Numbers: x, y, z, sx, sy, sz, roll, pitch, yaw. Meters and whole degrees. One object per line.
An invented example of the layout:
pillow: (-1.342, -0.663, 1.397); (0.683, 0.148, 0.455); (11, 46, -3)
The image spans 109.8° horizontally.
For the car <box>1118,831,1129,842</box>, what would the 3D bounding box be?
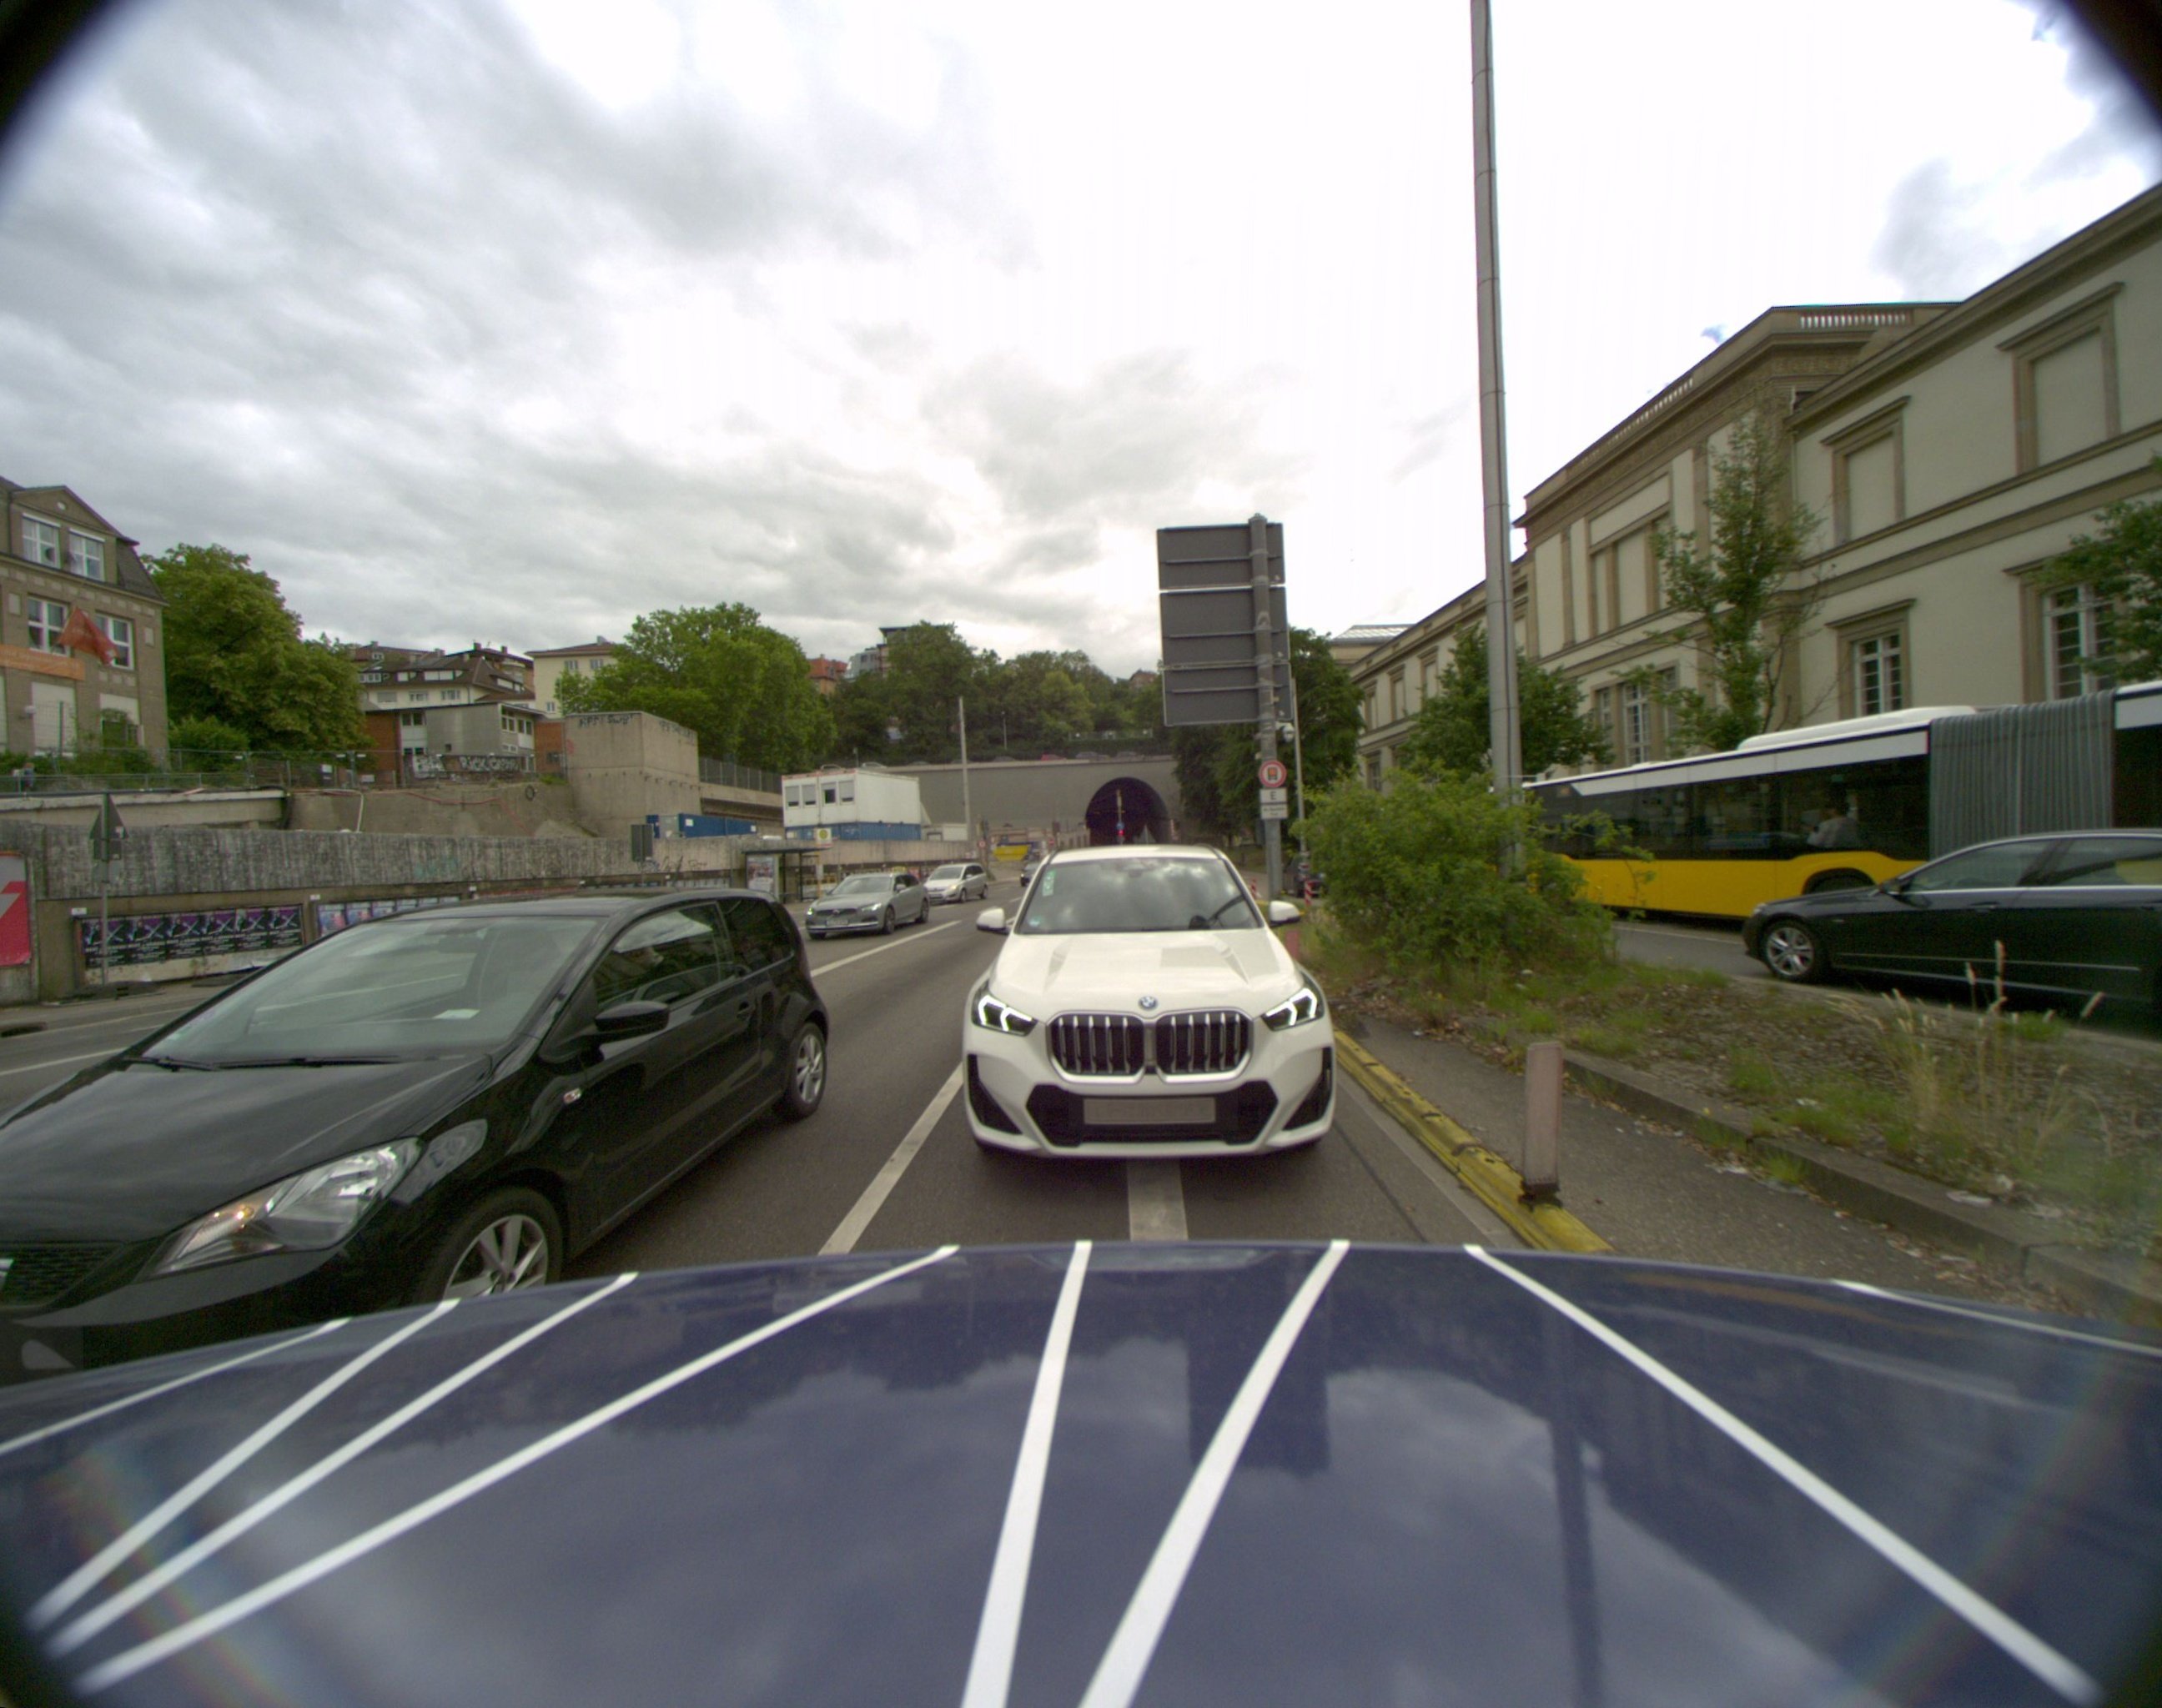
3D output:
car: (6.908, -2.822, 123.371); (1.667, 1.582, 3.882); (-1, 0, 2)

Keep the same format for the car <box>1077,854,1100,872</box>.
car: (0.626, 0.691, 61.986); (1.728, 1.310, 4.000); (-3, 0, 1)

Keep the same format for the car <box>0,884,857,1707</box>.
car: (-2.513, 0.999, 3.421); (1.667, 1.487, 3.882); (-3, 0, 2)

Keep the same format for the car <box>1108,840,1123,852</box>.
car: (4.444, -0.969, 98.013); (1.730, 1.435, 4.001); (-3, 0, 5)

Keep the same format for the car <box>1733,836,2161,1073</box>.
car: (7.735, 0.630, 5.658); (1.705, 1.463, 4.629); (-3, 0, -1)

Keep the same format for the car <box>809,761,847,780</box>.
car: (-31.086, -10.255, 93.316); (3.998, 2.002, 1.999); (-2, 1, -5)

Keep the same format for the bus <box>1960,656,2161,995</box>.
bus: (11.272, -0.310, 3.919); (2.853, 3.096, 9.121); (-3, 0, 0)

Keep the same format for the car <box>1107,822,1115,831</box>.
car: (5.936, -5.381, 150.873); (1.667, 1.582, 3.882); (-1, 0, 2)

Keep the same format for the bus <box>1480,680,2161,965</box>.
bus: (11.163, -0.371, 13.405); (2.853, 3.096, 9.747); (-3, 0, -1)

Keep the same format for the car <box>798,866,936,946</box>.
car: (-5.111, 1.164, 18.879); (1.826, 1.562, 4.654); (-3, 0, 3)

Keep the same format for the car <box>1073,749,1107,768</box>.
car: (1.078, -11.828, 94.498); (3.998, 2.002, 1.999); (-2, 1, -2)

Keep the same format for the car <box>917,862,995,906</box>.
car: (-5.139, 1.208, 31.927); (1.703, 1.550, 4.554); (-3, 0, 11)

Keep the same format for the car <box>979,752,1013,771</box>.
car: (-10.506, -11.399, 94.017); (3.998, 2.002, 1.999); (-2, 1, -2)

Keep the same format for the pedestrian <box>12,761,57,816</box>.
pedestrian: (-39.536, -2.469, 28.708); (0.646, 2.002, 0.666); (-2, 1, -3)

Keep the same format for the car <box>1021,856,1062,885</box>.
car: (-2.358, 0.962, 46.646); (1.704, 1.550, 4.553); (-3, 0, 7)

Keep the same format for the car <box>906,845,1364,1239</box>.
car: (0.287, 0.794, 5.132); (1.848, 1.581, 3.882); (-3, 0, 2)

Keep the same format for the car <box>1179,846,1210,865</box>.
car: (9.189, 0.105, 61.920); (1.711, 1.505, 4.287); (0, 0, -3)

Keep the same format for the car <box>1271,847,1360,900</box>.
car: (7.812, 0.618, 25.686); (1.701, 1.580, 3.882); (-3, 0, -1)

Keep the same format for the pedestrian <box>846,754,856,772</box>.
pedestrian: (-27.396, -10.828, 90.384); (0.851, 2.002, 0.905); (-3, 1, -3)

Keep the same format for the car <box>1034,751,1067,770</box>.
car: (-3.800, -11.649, 94.413); (3.998, 2.002, 1.999); (-2, 1, -2)

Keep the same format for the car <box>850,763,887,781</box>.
car: (-26.037, -10.068, 93.380); (3.998, 2.002, 1.999); (-2, 1, -5)
